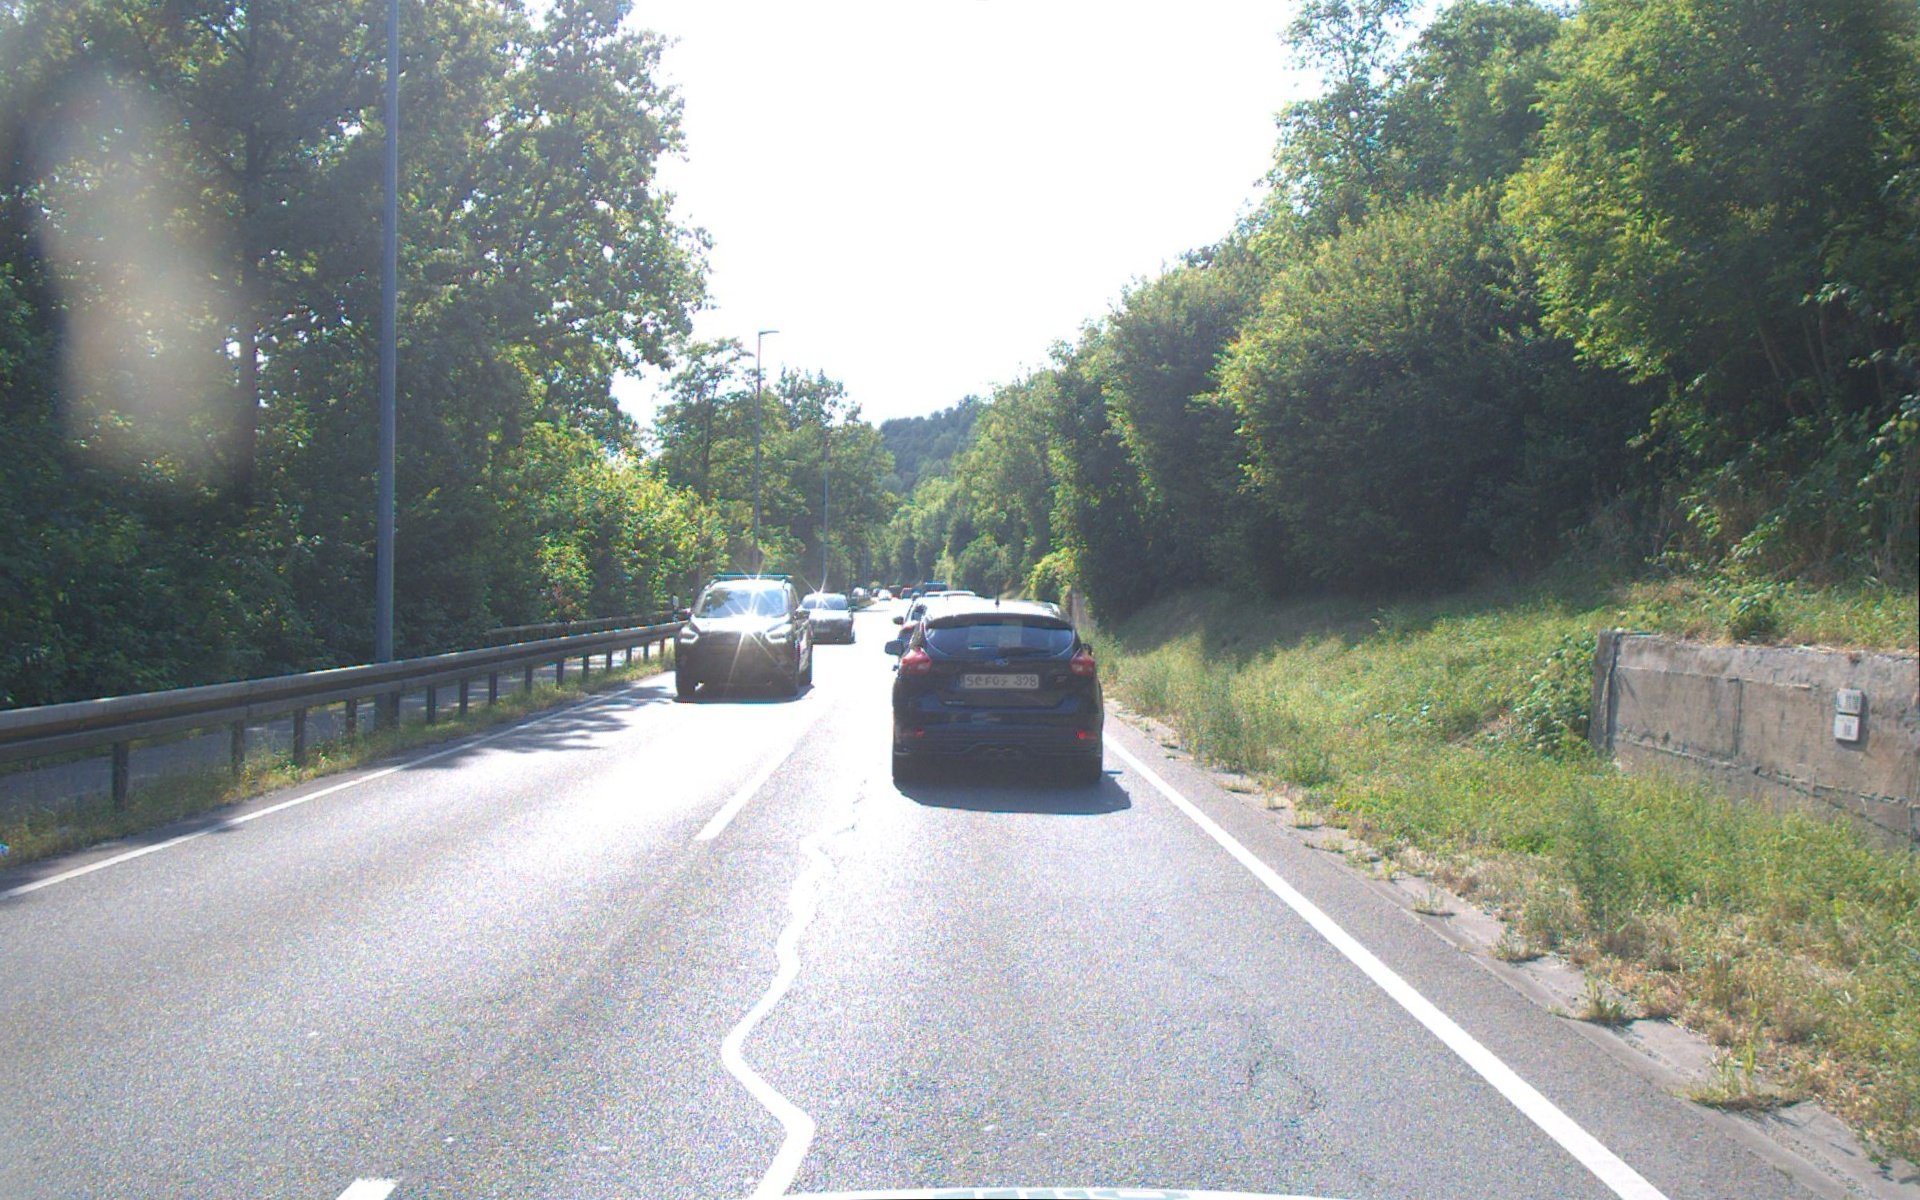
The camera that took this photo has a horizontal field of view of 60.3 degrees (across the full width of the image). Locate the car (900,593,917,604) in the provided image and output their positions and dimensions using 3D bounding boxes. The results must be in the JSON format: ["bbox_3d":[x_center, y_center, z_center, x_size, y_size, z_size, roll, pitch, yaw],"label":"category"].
[{"bbox_3d":[-7.262,-0.198,234.551,1.956,1.545,3.993,0,0,-8],"label":"car"}]

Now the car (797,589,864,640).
[{"bbox_3d":[-3.918,0.413,50.498,1.657,1.445,4.142,-1,0,1],"label":"car"}]

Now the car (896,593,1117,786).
[{"bbox_3d":[0.333,0.693,14.861,1.704,1.482,3.999,1,0,-1],"label":"car"}]

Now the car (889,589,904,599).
[{"bbox_3d":[-9.545,-0.897,249.097,1.956,1.545,3.993,0,0,-8],"label":"car"}]

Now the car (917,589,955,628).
[{"bbox_3d":[-1.058,0.337,71.896,1.597,1.624,3.999,0,0,-1],"label":"car"}]

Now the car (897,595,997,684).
[{"bbox_3d":[-0.195,0.636,28.884,1.627,1.443,4.000,0,0,1],"label":"car"}]

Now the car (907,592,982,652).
[{"bbox_3d":[-0.396,0.511,41.076,1.768,1.416,3.999,0,0,-1],"label":"car"}]

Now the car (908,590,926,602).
[{"bbox_3d":[-5.539,-0.496,213.478,1.956,1.545,3.993,0,0,-8],"label":"car"}]

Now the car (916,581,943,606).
[{"bbox_3d":[-2.212,-0.480,119.323,1.826,1.812,3.998,0,0,-3],"label":"car"}]

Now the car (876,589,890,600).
[{"bbox_3d":[-10.448,-0.747,224.276,1.592,1.401,4.042,-2,0,-6],"label":"car"}]

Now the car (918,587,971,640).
[{"bbox_3d":[-0.493,0.399,52.286,1.597,1.624,3.999,0,0,-1],"label":"car"}]

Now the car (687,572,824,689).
[{"bbox_3d":[-3.253,0.445,27.036,1.712,1.747,4.221,0,0,0],"label":"car"}]
